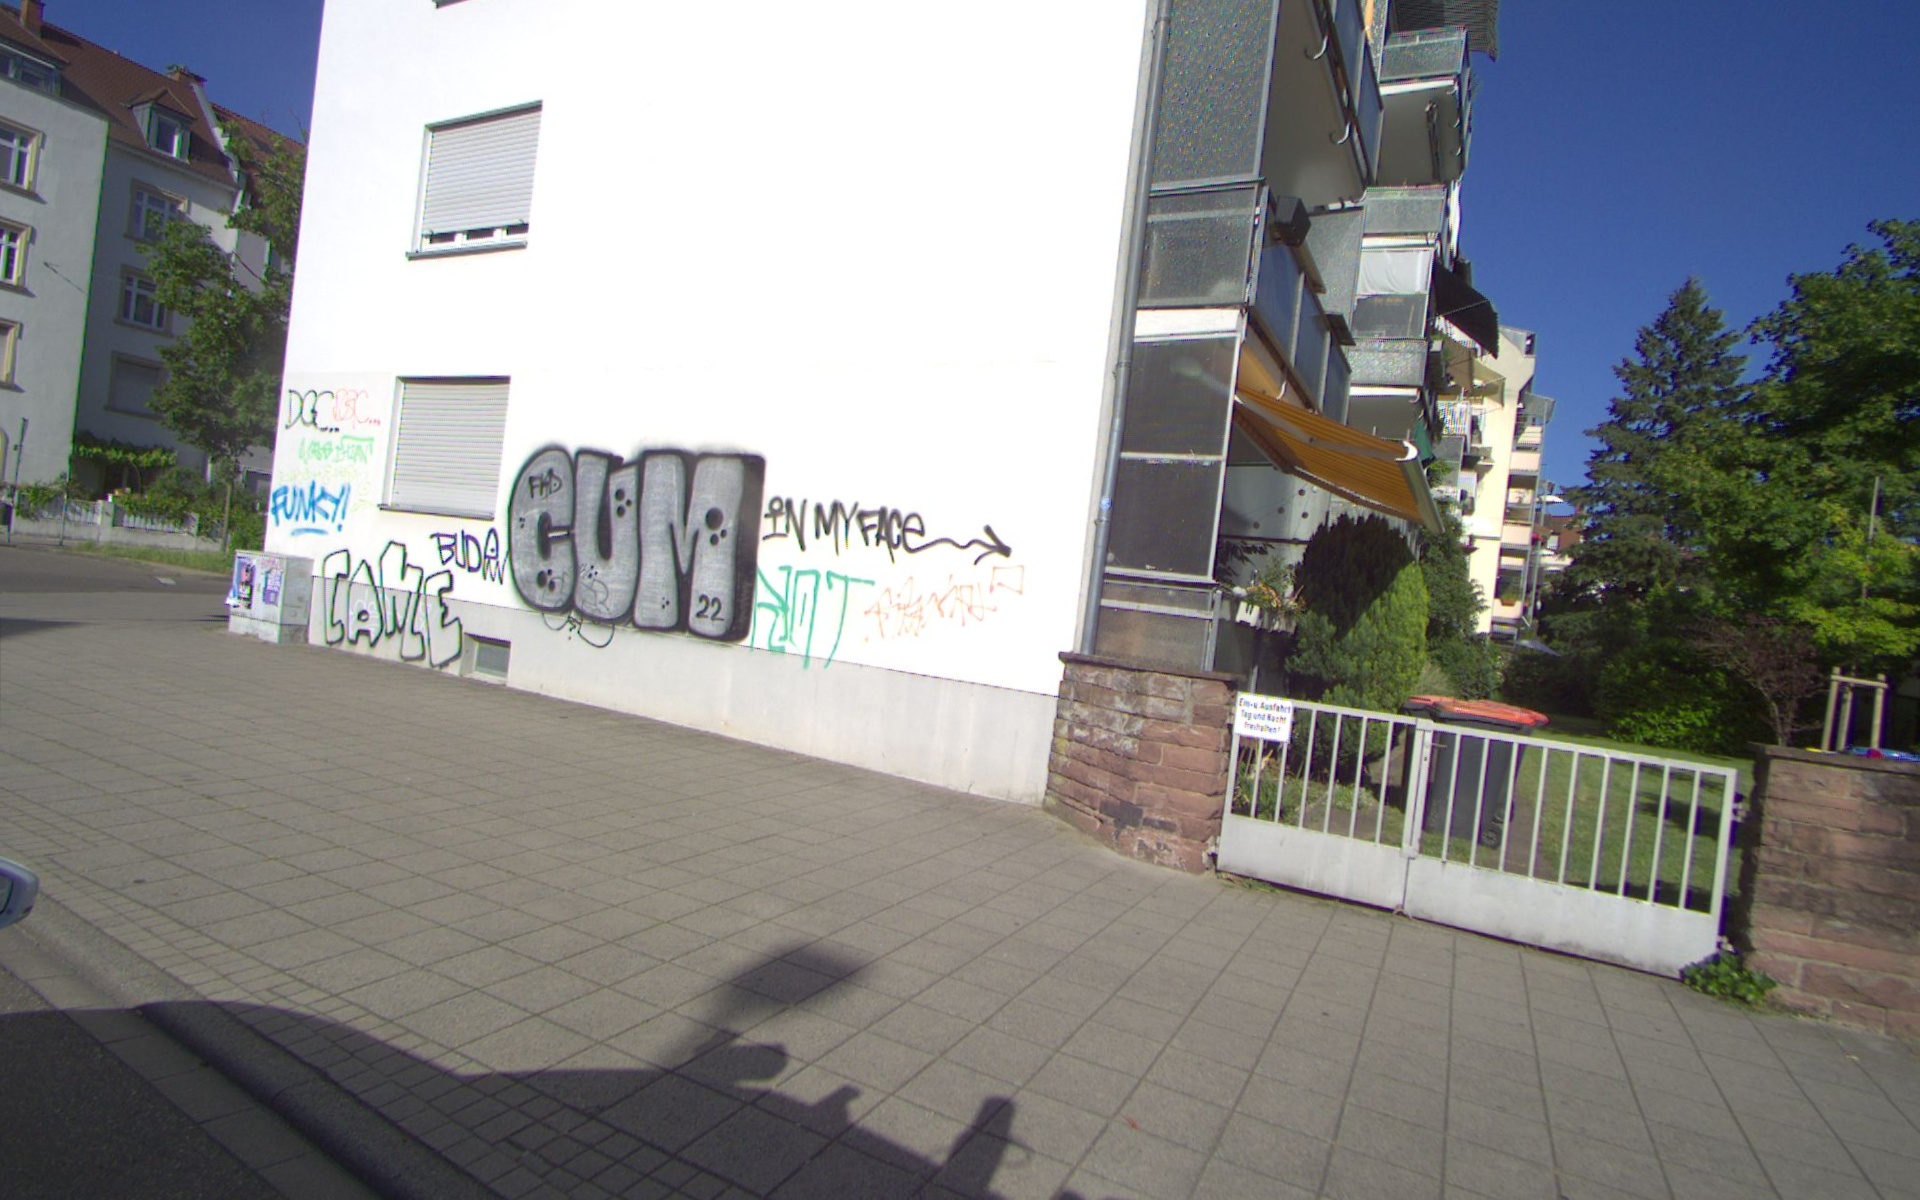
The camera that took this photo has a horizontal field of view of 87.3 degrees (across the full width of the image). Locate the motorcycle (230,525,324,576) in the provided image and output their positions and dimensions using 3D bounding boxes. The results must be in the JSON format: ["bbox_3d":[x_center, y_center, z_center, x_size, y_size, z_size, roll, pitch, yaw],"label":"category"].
[{"bbox_3d":[-21.838,-1.589,32.168,2.733,1.283,1.126,7,0,24],"label":"motorcycle"}]

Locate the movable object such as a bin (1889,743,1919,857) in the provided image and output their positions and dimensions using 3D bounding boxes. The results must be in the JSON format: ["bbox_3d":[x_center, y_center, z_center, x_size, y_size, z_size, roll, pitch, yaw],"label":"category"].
[{"bbox_3d":[9.528,1.965,9.703,0.561,1.036,0.737,7,1,27],"label":"movable object such as a bin"}]

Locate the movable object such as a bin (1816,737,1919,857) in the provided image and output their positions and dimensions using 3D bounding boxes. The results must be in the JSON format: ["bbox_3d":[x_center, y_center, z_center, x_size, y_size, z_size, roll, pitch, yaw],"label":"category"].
[{"bbox_3d":[8.978,1.918,9.927,0.561,0.997,0.737,7,1,27],"label":"movable object such as a bin"}]

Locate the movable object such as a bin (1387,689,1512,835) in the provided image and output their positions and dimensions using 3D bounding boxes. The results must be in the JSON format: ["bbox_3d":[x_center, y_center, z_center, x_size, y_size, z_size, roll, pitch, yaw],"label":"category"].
[{"bbox_3d":[4.339,1.416,8.970,0.789,1.119,0.571,7,1,15],"label":"movable object such as a bin"}]

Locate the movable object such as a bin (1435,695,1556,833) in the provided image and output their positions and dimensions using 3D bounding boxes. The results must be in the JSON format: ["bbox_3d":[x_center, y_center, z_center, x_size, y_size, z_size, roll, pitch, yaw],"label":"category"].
[{"bbox_3d":[5.042,1.527,9.522,0.789,1.119,0.571,7,1,15],"label":"movable object such as a bin"}]

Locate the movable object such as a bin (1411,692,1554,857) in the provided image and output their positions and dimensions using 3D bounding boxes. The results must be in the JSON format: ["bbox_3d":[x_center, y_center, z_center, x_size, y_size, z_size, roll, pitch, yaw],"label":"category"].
[{"bbox_3d":[4.130,1.357,8.001,0.789,1.119,0.571,7,1,15],"label":"movable object such as a bin"}]
